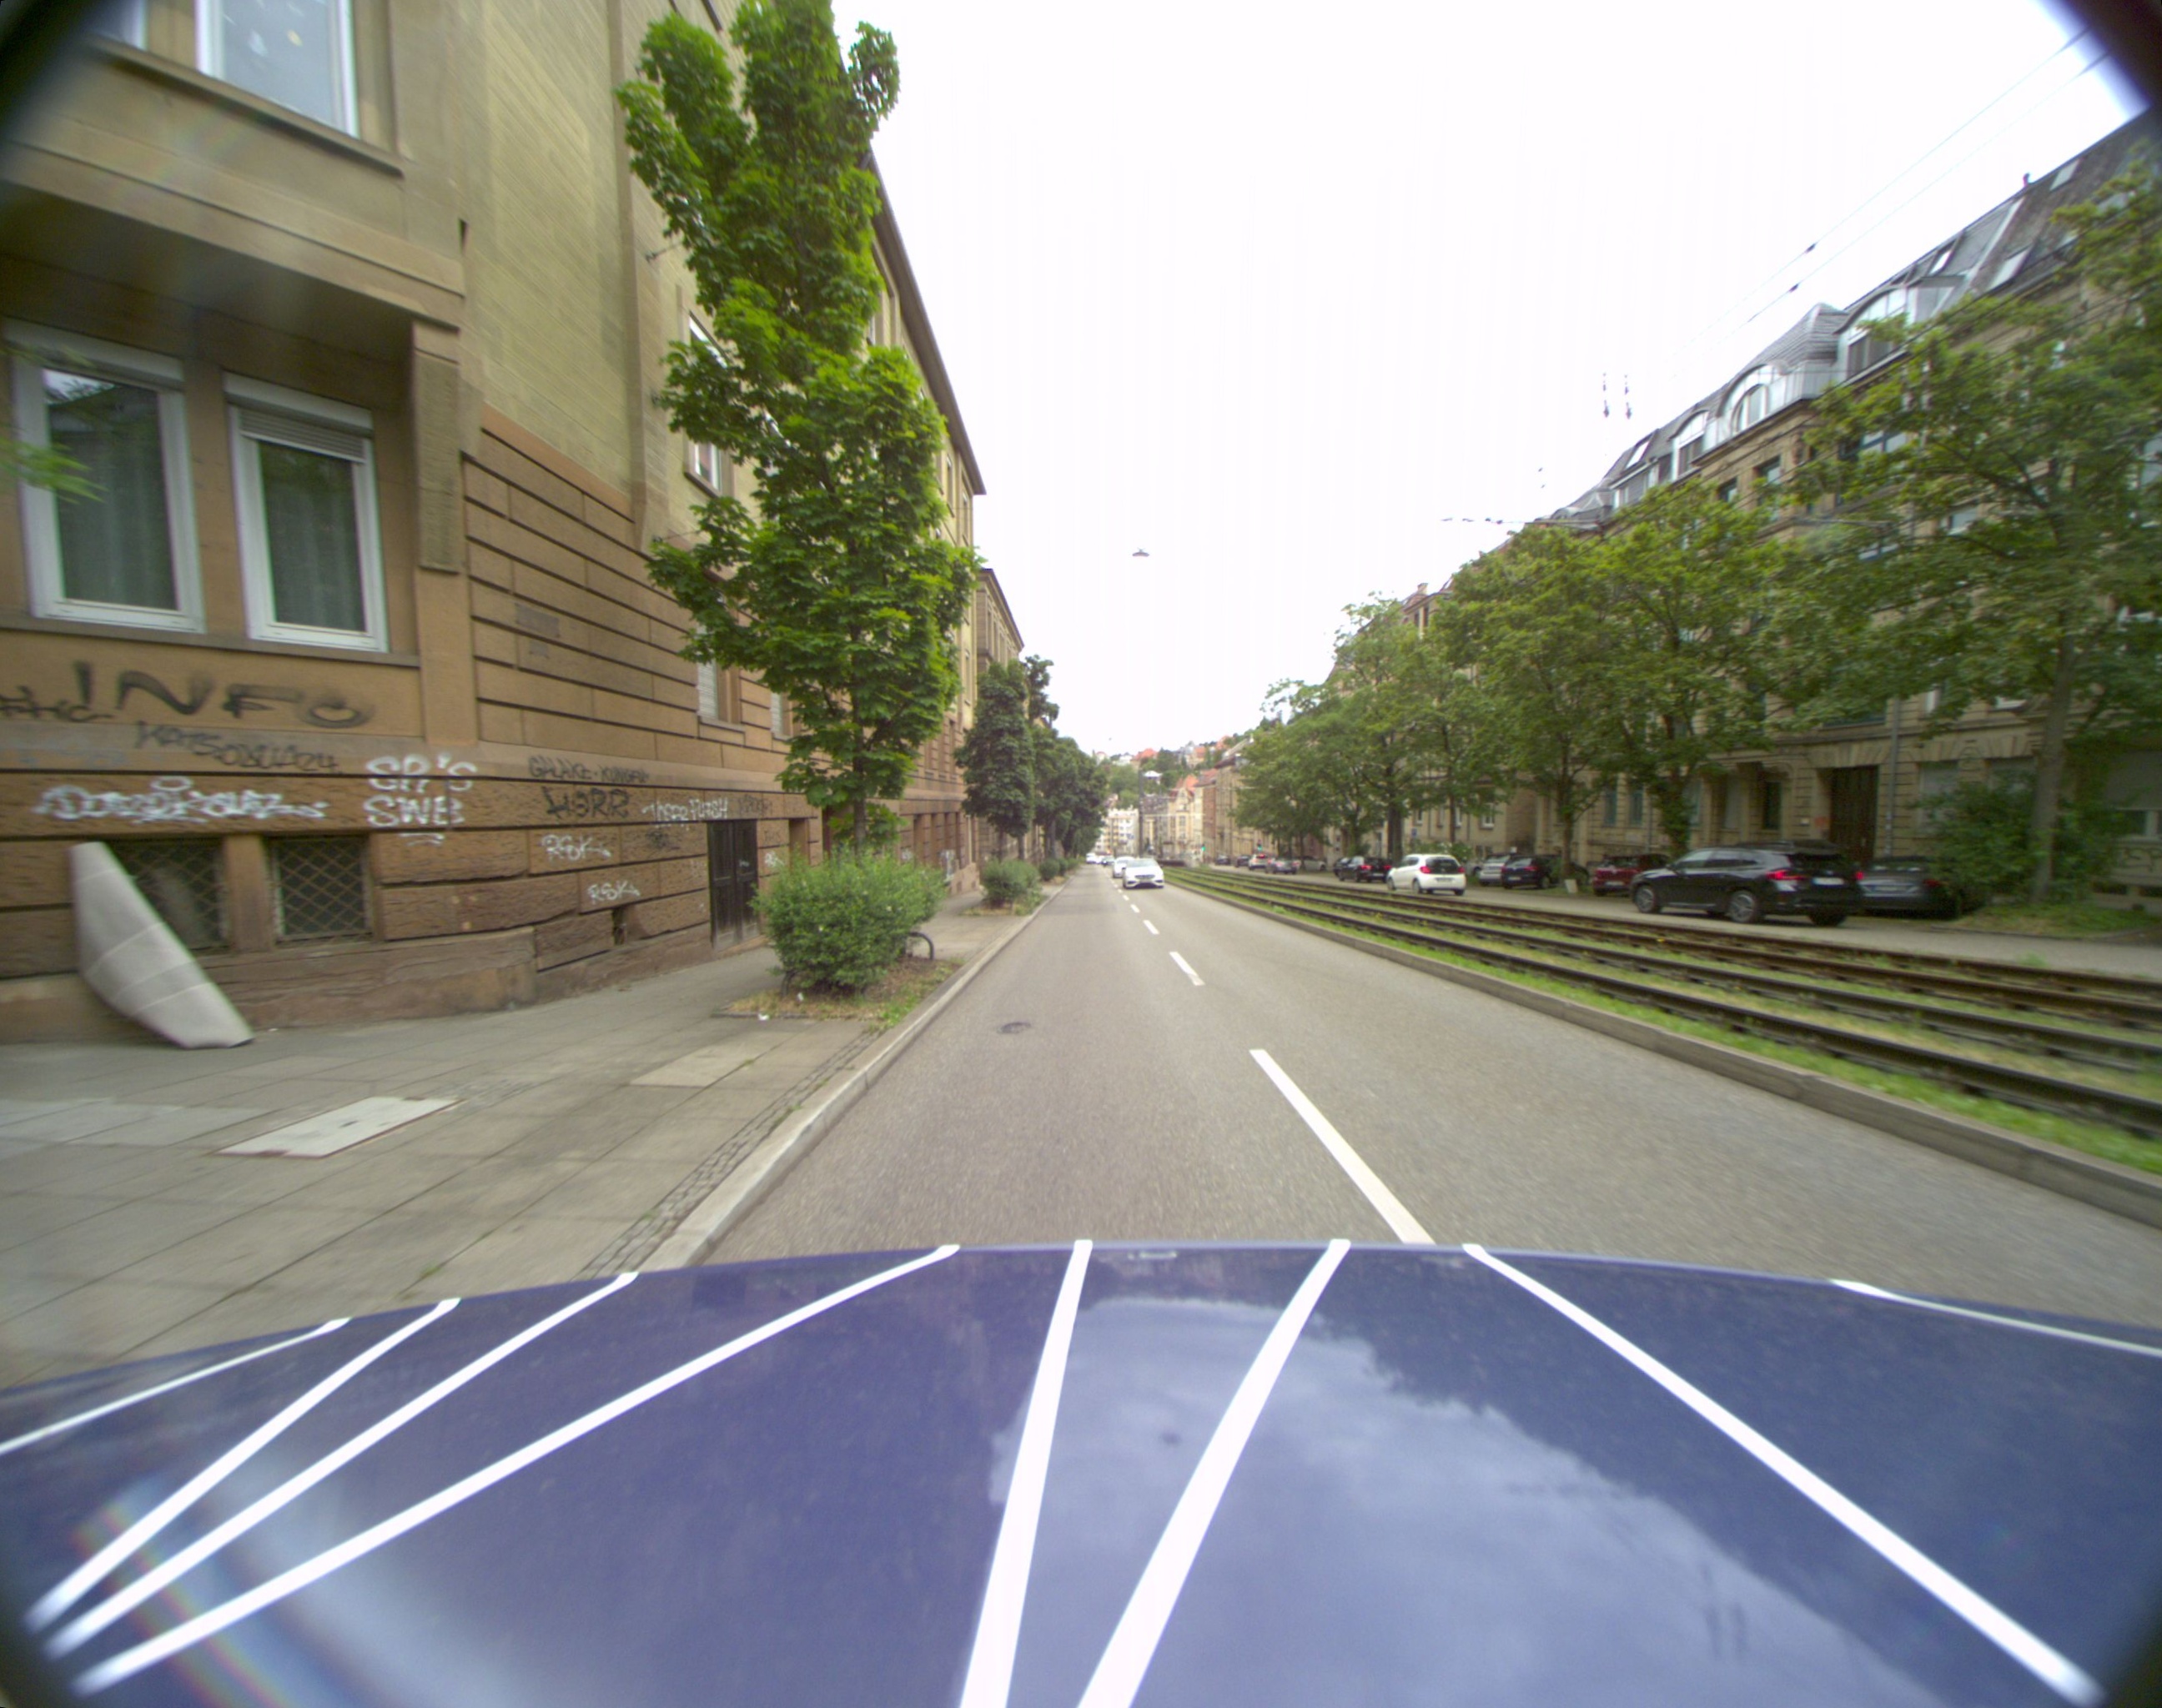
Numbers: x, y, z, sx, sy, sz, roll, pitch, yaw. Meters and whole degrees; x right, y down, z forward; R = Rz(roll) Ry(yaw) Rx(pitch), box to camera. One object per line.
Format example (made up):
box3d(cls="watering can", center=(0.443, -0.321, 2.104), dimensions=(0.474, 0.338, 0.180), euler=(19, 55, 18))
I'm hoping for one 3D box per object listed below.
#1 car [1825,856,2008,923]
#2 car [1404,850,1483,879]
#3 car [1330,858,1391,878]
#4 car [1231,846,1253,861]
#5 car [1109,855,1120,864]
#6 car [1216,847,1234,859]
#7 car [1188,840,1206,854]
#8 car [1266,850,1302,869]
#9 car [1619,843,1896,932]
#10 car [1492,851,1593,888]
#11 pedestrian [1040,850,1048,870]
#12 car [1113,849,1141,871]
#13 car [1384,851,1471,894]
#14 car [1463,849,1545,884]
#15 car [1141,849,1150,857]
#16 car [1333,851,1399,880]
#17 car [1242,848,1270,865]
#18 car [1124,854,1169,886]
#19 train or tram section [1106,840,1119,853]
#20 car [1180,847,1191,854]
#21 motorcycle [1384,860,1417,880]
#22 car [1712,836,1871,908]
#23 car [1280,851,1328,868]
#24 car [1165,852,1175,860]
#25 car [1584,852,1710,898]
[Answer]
box3d(cls="car", center=(19.083, 0.728, 17.342), dimensions=(4.198, 1.331, 1.867), euler=(-1, 0, -29))
box3d(cls="car", center=(19.220, 0.538, 40.228), dimensions=(4.162, 1.461, 1.781), euler=(0, 1, -31))
box3d(cls="car", center=(19.747, 0.961, 53.729), dimensions=(4.190, 1.356, 1.708), euler=(-1, 0, -29))
box3d(cls="car", center=(19.326, -0.066, 91.182), dimensions=(1.784, 1.647, 4.243), euler=(1, 0, 1))
box3d(cls="car", center=(4.867, 0.852, 111.196), dimensions=(1.562, 1.330, 4.001), euler=(-1, -1, 1))
box3d(cls="car", center=(20.968, -0.140, 110.782), dimensions=(1.885, 1.640, 4.471), euler=(1, 0, 1))
box3d(cls="car", center=(21.718, -1.271, 142.472), dimensions=(2.398, 2.683, 6.519), euler=(1, 0, 2))
box3d(cls="car", center=(16.071, 0.443, 60.439), dimensions=(1.729, 1.402, 4.598), euler=(1, 0, 1))
box3d(cls="car", center=(14.316, 0.638, 16.542), dimensions=(1.922, 1.640, 4.607), euler=(1, 0, 0))
box3d(cls="car", center=(19.447, 0.617, 31.988), dimensions=(4.198, 1.427, 1.867), euler=(-1, 0, -31))
box3d(cls="pedestrian", center=(-3.463, 0.571, 71.166), dimensions=(0.687, 1.819, 1.121), euler=(1, 3, 1))
box3d(cls="car", center=(3.263, 0.451, 55.027), dimensions=(1.806, 1.541, 4.001), euler=(-2, -1, 1))
box3d(cls="car", center=(12.457, 0.642, 27.507), dimensions=(1.592, 1.427, 3.412), euler=(1, 0, 0))
box3d(cls="car", center=(19.971, 0.566, 35.830), dimensions=(4.199, 1.564, 1.867), euler=(-1, 0, -37))
box3d(cls="car", center=(21.044, -0.325, 248.227), dimensions=(1.999, 2.291, 5.453), euler=(-1, 0, -3))
box3d(cls="car", center=(15.295, 0.588, 41.032), dimensions=(1.870, 1.427, 4.493), euler=(2, 0, 0))
box3d(cls="car", center=(17.029, 0.228, 74.101), dimensions=(1.784, 1.607, 4.346), euler=(1, 0, 1))
box3d(cls="car", center=(3.103, 0.755, 36.515), dimensions=(1.806, 1.391, 4.000), euler=(-2, -1, 0))
box3d(cls="train or tram section", center=(8.806, -2.163, 217.135), dimensions=(2.968, 3.456, 14.409), euler=(0, -1, -1))
box3d(cls="car", center=(21.495, -0.650, 156.662), dimensions=(1.752, 1.420, 4.750), euler=(0, 0, 3))
box3d(cls="motorcycle", center=(19.045, 0.933, 45.279), dimensions=(2.209, 1.052, 0.624), euler=(-2, 1, -33))
box3d(cls="car", center=(18.913, 0.423, 20.213), dimensions=(4.198, 1.757, 1.867), euler=(-1, 0, -29))
box3d(cls="car", center=(19.760, 0.474, 67.296), dimensions=(4.006, 1.414, 1.782), euler=(-1, 0, -30))
box3d(cls="car", center=(19.328, 0.398, 164.780), dimensions=(1.884, 1.640, 4.471), euler=(1, 0, 3))
box3d(cls="car", center=(19.434, 0.665, 26.071), dimensions=(4.198, 1.427, 1.867), euler=(-1, 0, -29))
